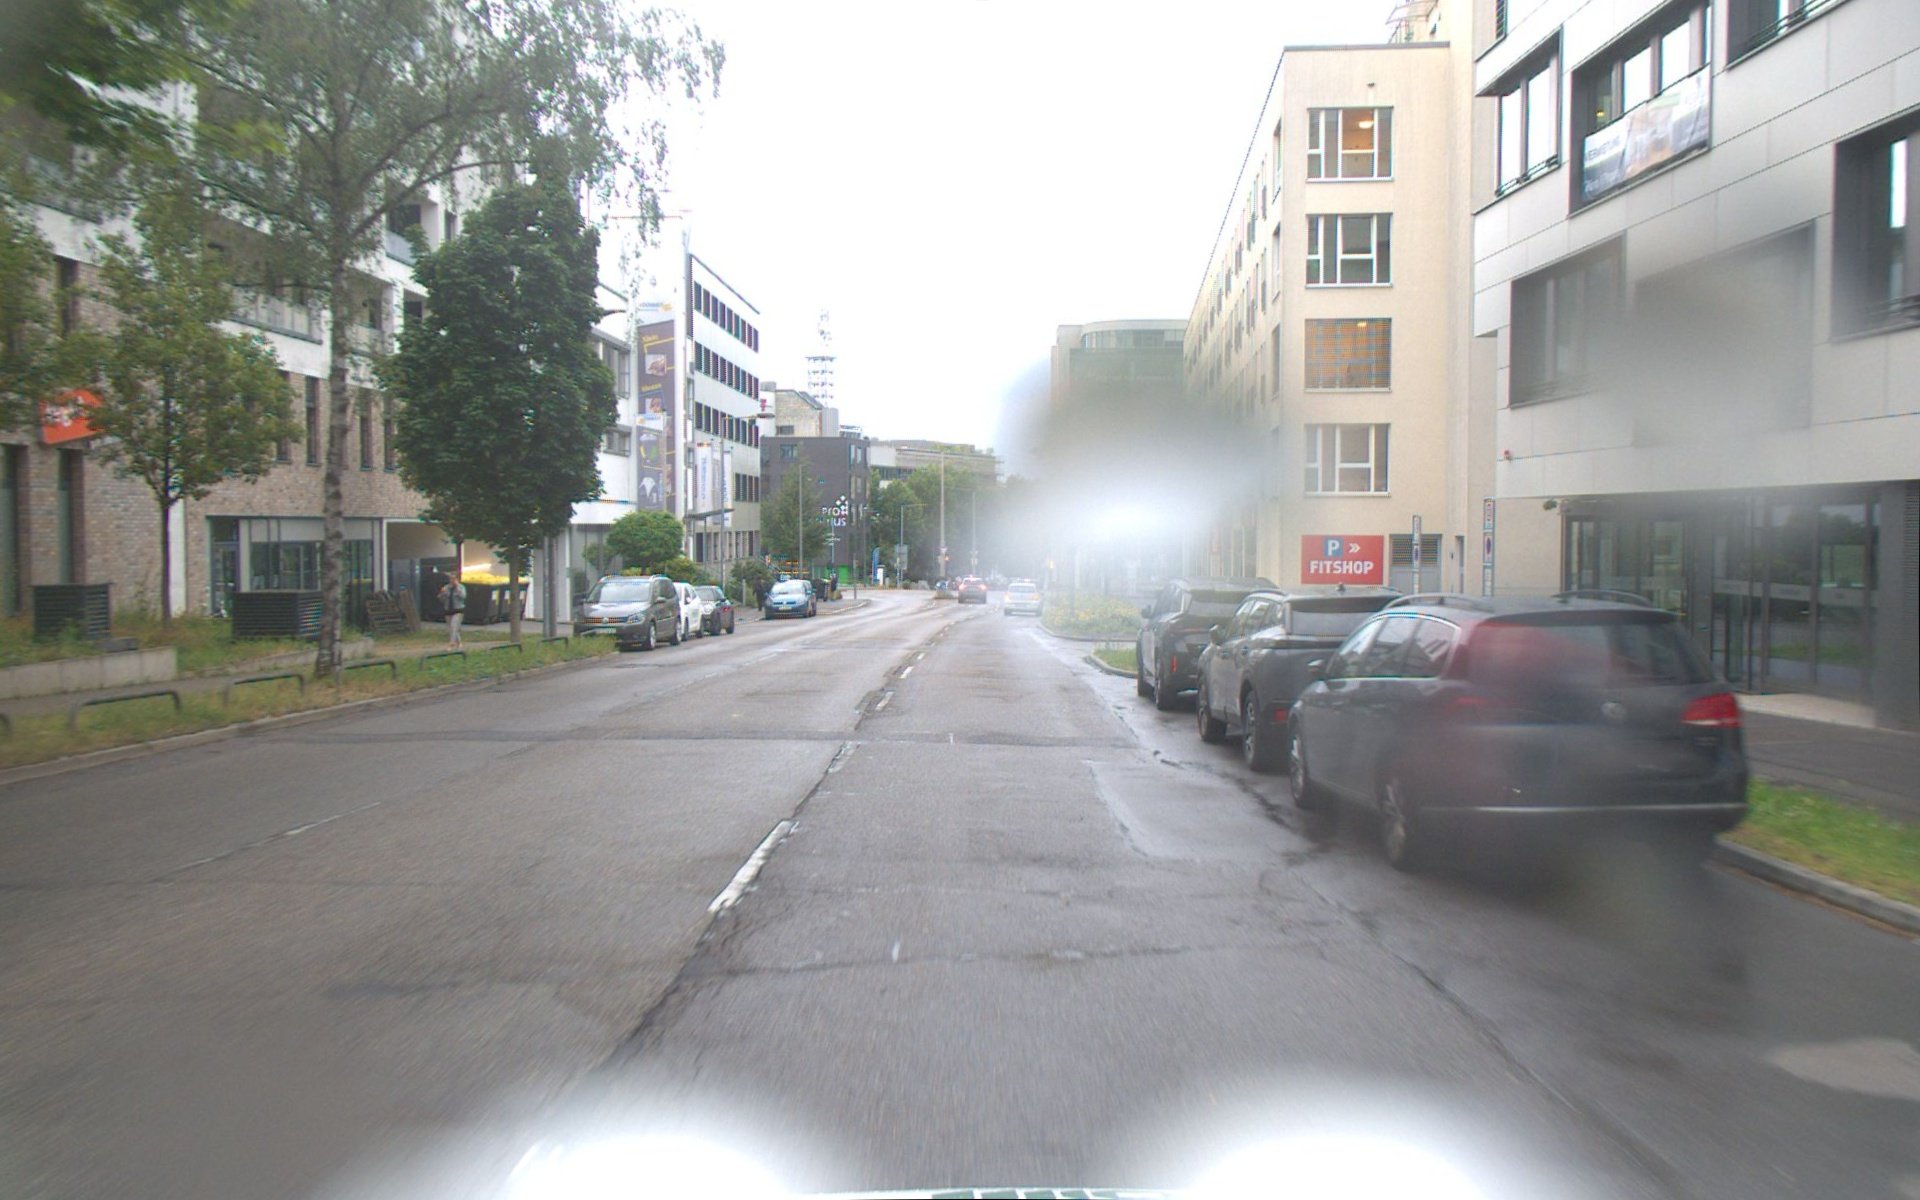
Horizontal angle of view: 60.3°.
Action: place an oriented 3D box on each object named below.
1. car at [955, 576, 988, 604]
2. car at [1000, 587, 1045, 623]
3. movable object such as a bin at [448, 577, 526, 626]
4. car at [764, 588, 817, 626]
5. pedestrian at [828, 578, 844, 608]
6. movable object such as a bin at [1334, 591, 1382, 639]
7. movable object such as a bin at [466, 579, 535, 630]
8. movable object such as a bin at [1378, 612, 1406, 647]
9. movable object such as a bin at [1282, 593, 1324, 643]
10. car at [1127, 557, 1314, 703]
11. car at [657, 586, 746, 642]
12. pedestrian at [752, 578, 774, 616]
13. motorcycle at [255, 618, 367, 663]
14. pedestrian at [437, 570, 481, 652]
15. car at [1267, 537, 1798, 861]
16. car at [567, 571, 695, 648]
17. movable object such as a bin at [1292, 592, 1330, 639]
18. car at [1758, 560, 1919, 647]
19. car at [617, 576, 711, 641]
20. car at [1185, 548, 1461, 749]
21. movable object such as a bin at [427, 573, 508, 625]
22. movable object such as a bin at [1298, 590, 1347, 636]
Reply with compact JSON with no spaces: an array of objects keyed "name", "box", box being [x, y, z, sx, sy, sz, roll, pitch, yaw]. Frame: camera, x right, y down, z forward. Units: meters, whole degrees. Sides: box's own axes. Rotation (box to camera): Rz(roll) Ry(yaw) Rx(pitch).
[{"name":"car","box":[0.776,-0.618,109.244,2.097,1.758,4.000,1,-1,1]},{"name":"car","box":[2.823,0.219,75.591,1.952,1.604,3.996,0,0,0]},{"name":"movable object such as a bin","box":[-14.406,0.048,50.423,2.013,1.448,1.316,1,0,-3]},{"name":"car","box":[-6.924,0.300,67.881,1.875,1.507,4.354,1,-1,-2]},{"name":"pedestrian","box":[-8.306,-0.456,110.535,0.942,1.989,0.777,1,-1,-11]},{"name":"movable object such as a bin","box":[12.089,0.453,50.256,1.234,1.427,1.113,0,0,3]},{"name":"movable object such as a bin","box":[-14.415,0.138,51.918,1.759,1.536,1.481,-2,0,-3]},{"name":"movable object such as a bin","box":[13.093,0.883,50.124,0.684,1.045,0.853,0,0,3]},{"name":"movable object such as a bin","box":[10.685,0.558,51.554,1.149,1.529,1.014,0,0,3]},{"name":"car","box":[3.340,0.327,22.033,1.770,1.708,4.713,1,1,0]},{"name":"car","box":[-7.487,0.423,48.280,1.759,1.543,4.246,1,-1,2]},{"name":"pedestrian","box":[-9.061,-0.140,76.076,0.719,1.738,0.896,0,-1,-26]},{"name":"motorcycle","box":[-12.299,0.755,31.346,1.962,0.822,0.718,0,0,19]},{"name":"pedestrian","box":[-10.598,0.233,35.007,0.694,1.712,0.956,0,0,-3]},{"name":"car","box":[3.291,0.520,10.621,1.770,1.591,4.846,1,-1,0]},{"name":"car","box":[-7.520,0.182,38.301,2.035,1.637,4.685,-1,0,-1]},{"name":"movable object such as a bin","box":[10.694,0.463,50.425,1.000,1.427,1.058,0,0,3]},{"name":"car","box":[19.313,0.105,34.999,3.904,1.644,1.895,3,0,4]},{"name":"car","box":[-7.739,0.216,43.553,1.737,1.628,4.032,0,0,0]},{"name":"car","box":[3.292,0.426,15.827,1.713,1.633,4.373,1,-1,0]},{"name":"movable object such as a bin","box":[-14.580,-0.034,48.990,1.986,1.455,1.289,2,0,-3]},{"name":"movable object such as a bin","box":[10.799,0.377,49.308,1.209,1.343,1.192,-1,-1,3]}]
